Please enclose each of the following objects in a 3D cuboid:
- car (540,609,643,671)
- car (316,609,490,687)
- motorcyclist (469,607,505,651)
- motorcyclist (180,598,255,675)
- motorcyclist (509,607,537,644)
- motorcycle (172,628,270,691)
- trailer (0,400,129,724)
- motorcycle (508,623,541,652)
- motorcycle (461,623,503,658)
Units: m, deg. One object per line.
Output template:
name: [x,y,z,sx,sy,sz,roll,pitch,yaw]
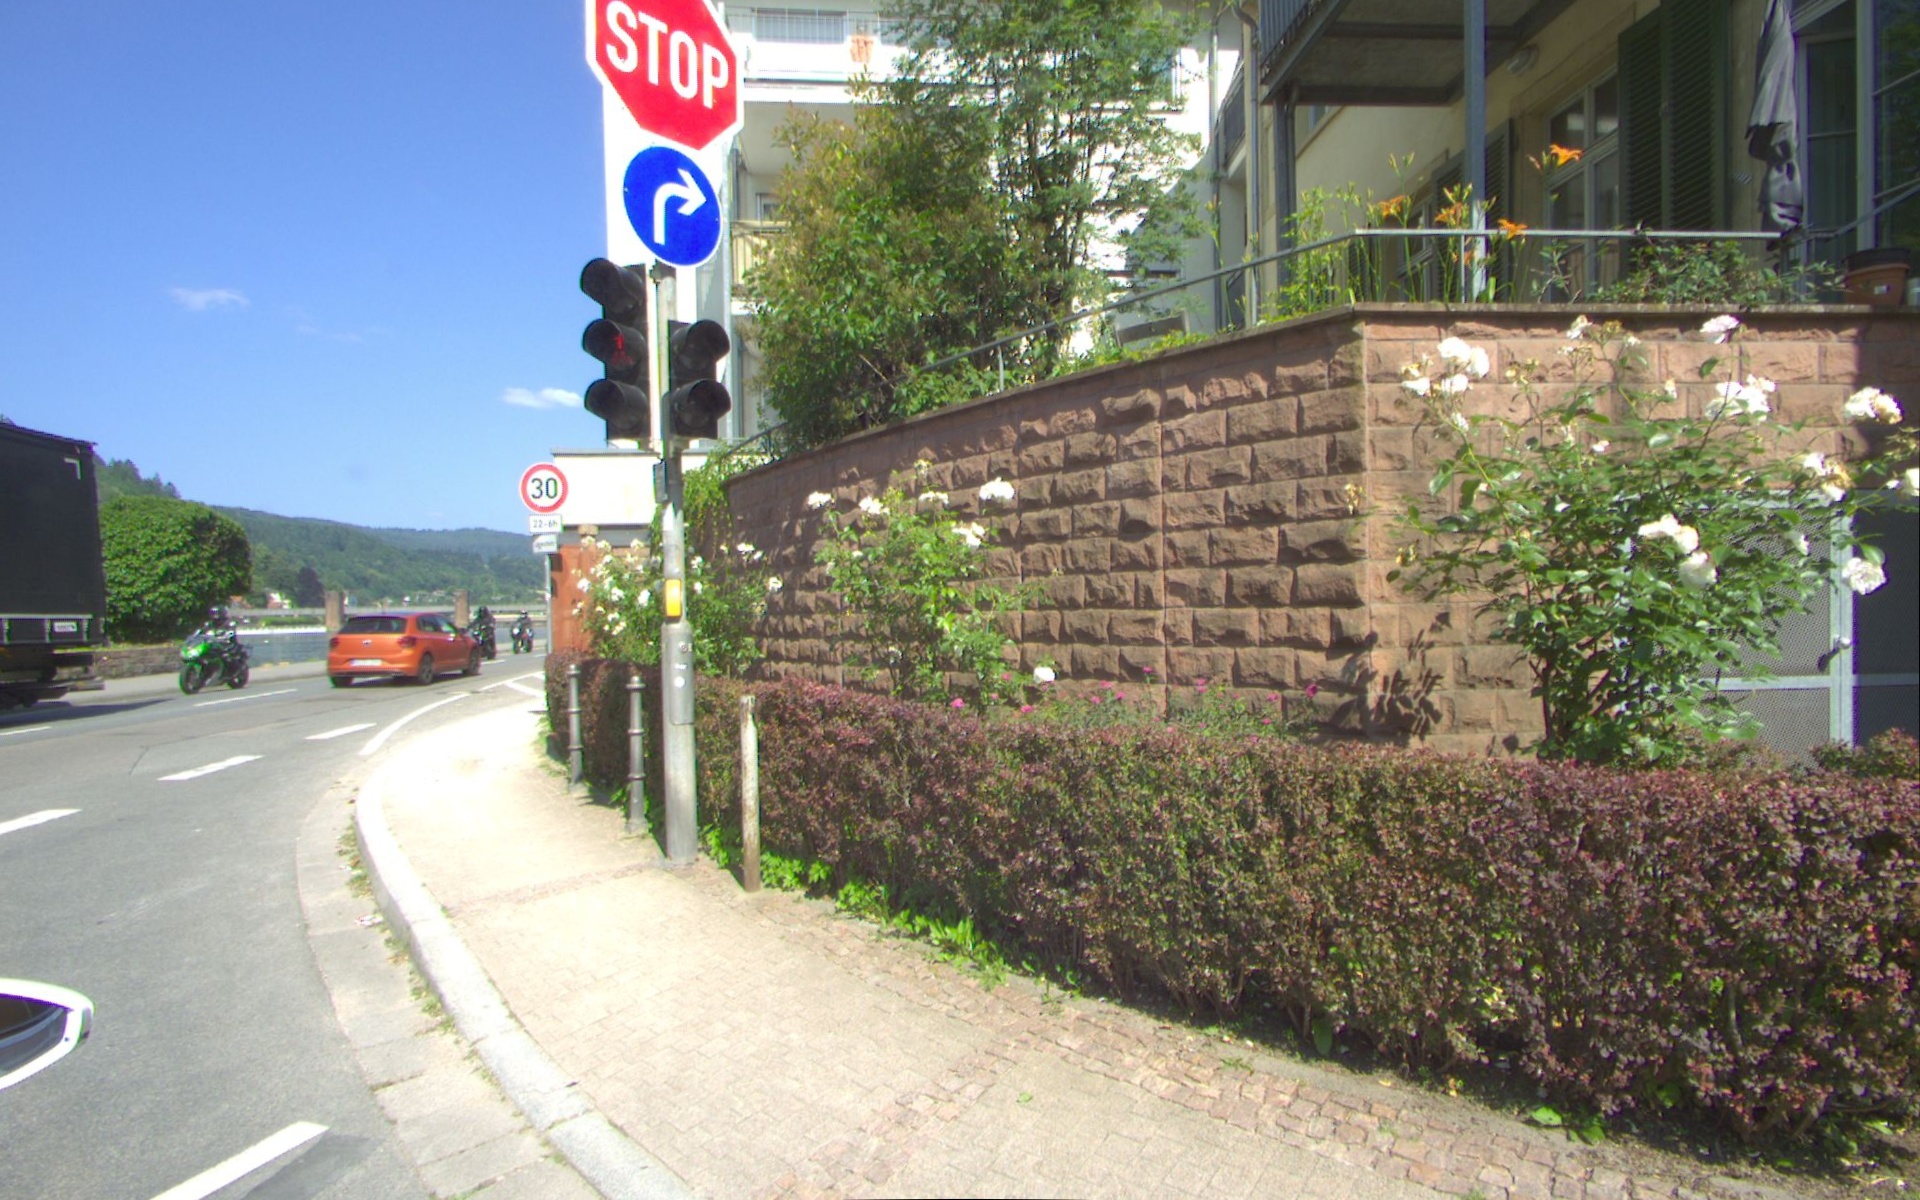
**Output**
car: [-8.940,0.930,24.553,1.661,1.417,3.737,0,-1,-9]
car: [-11.335,0.915,20.692,1.697,1.424,4.017,-1,0,-6]
motorcyclist: [-15.012,0.911,31.793,0.774,1.384,0.800,-1,0,-8]
motorcyclist: [-14.958,0.722,20.209,0.766,1.479,0.991,-3,1,-8]
motorcyclist: [-16.593,0.962,38.011,0.706,1.384,0.936,-1,0,-8]
motorcycle: [-14.900,1.162,20.252,0.623,1.138,2.092,-3,0,-8]
trailer: [-13.100,-0.463,7.941,2.788,4.158,13.766,-3,0,-7]
motorcycle: [-16.561,1.407,38.105,0.646,1.038,1.814,-1,0,-8]
motorcycle: [-15.070,1.254,31.629,0.646,1.038,1.814,-1,0,-8]
